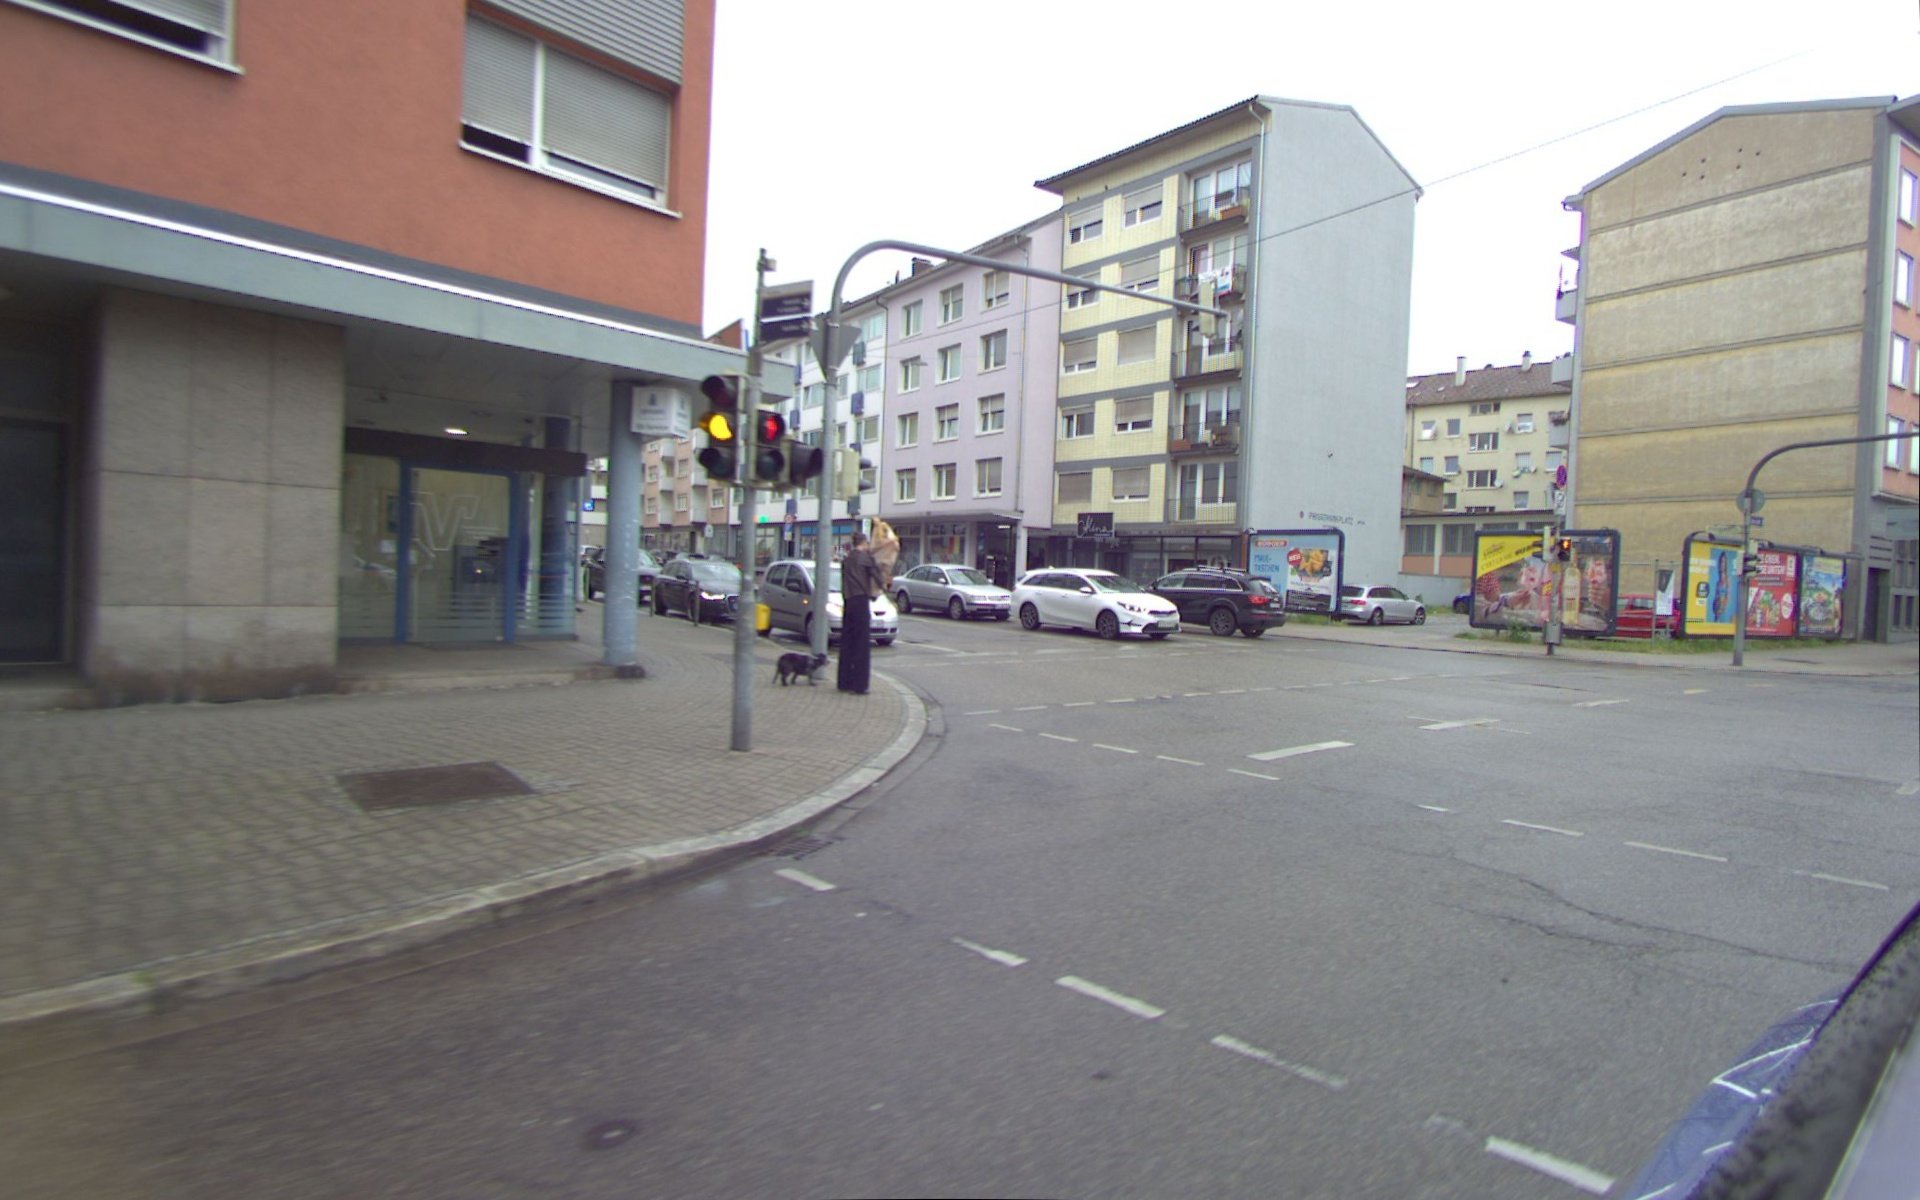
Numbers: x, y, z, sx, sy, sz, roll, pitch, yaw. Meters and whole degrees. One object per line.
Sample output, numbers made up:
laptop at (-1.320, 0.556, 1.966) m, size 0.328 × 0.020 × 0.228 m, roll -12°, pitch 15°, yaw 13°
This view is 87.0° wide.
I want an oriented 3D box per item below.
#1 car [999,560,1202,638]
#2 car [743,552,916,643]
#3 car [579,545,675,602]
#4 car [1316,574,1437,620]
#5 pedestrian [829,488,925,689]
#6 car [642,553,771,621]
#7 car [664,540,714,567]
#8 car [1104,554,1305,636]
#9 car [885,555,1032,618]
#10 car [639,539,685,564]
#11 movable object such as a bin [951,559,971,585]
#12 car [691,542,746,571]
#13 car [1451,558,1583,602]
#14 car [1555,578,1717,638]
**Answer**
car at (3.108, -0.094, 23.294) m, size 1.884 × 1.504 × 4.667 m, roll 0°, pitch 3°, yaw -36°
car at (-2.637, -0.111, 19.635) m, size 1.670 × 1.504 × 3.961 m, roll 0°, pitch 3°, yaw -35°
car at (-10.315, -0.855, 31.146) m, size 1.722 × 1.561 × 4.256 m, roll 1°, pitch 3°, yaw -33°
car at (14.689, -0.099, 35.610) m, size 4.248 × 1.457 × 1.882 m, roll 1°, pitch 2°, yaw -35°
pedestrian at (-0.954, -0.131, 11.560) m, size 0.755 × 2.185 × 0.828 m, roll 1°, pitch 0°, yaw -35°
car at (-6.356, -0.381, 25.009) m, size 1.636 × 1.442 × 4.386 m, roll 0°, pitch 3°, yaw -35°
car at (-17.836, -3.057, 66.512) m, size 1.952 × 1.638 × 4.130 m, roll 1°, pitch 2°, yaw -34°
car at (6.555, -0.177, 27.472) m, size 4.882 × 1.892 × 1.997 m, roll 4°, pitch 1°, yaw 42°
car at (-0.145, -0.414, 28.048) m, size 1.810 × 1.504 × 4.527 m, roll 0°, pitch 3°, yaw -35°
car at (-21.078, -3.455, 71.437) m, size 1.952 × 1.638 × 4.130 m, roll 1°, pitch 2°, yaw -34°
movable object such as a bin at (0.044, -1.287, 46.633) m, size 0.684 × 1.152 × 0.641 m, roll 1°, pitch 0°, yaw -34°
car at (-14.733, -2.686, 61.658) m, size 1.952 × 1.638 × 4.131 m, roll 1°, pitch 2°, yaw -33°
car at (23.381, -0.835, 42.724) m, size 2.110 × 1.710 × 4.789 m, roll 1°, pitch 0°, yaw -16°
car at (20.545, 0.214, 30.842) m, size 2.051 × 1.570 × 3.661 m, roll 1°, pitch 2°, yaw -40°
